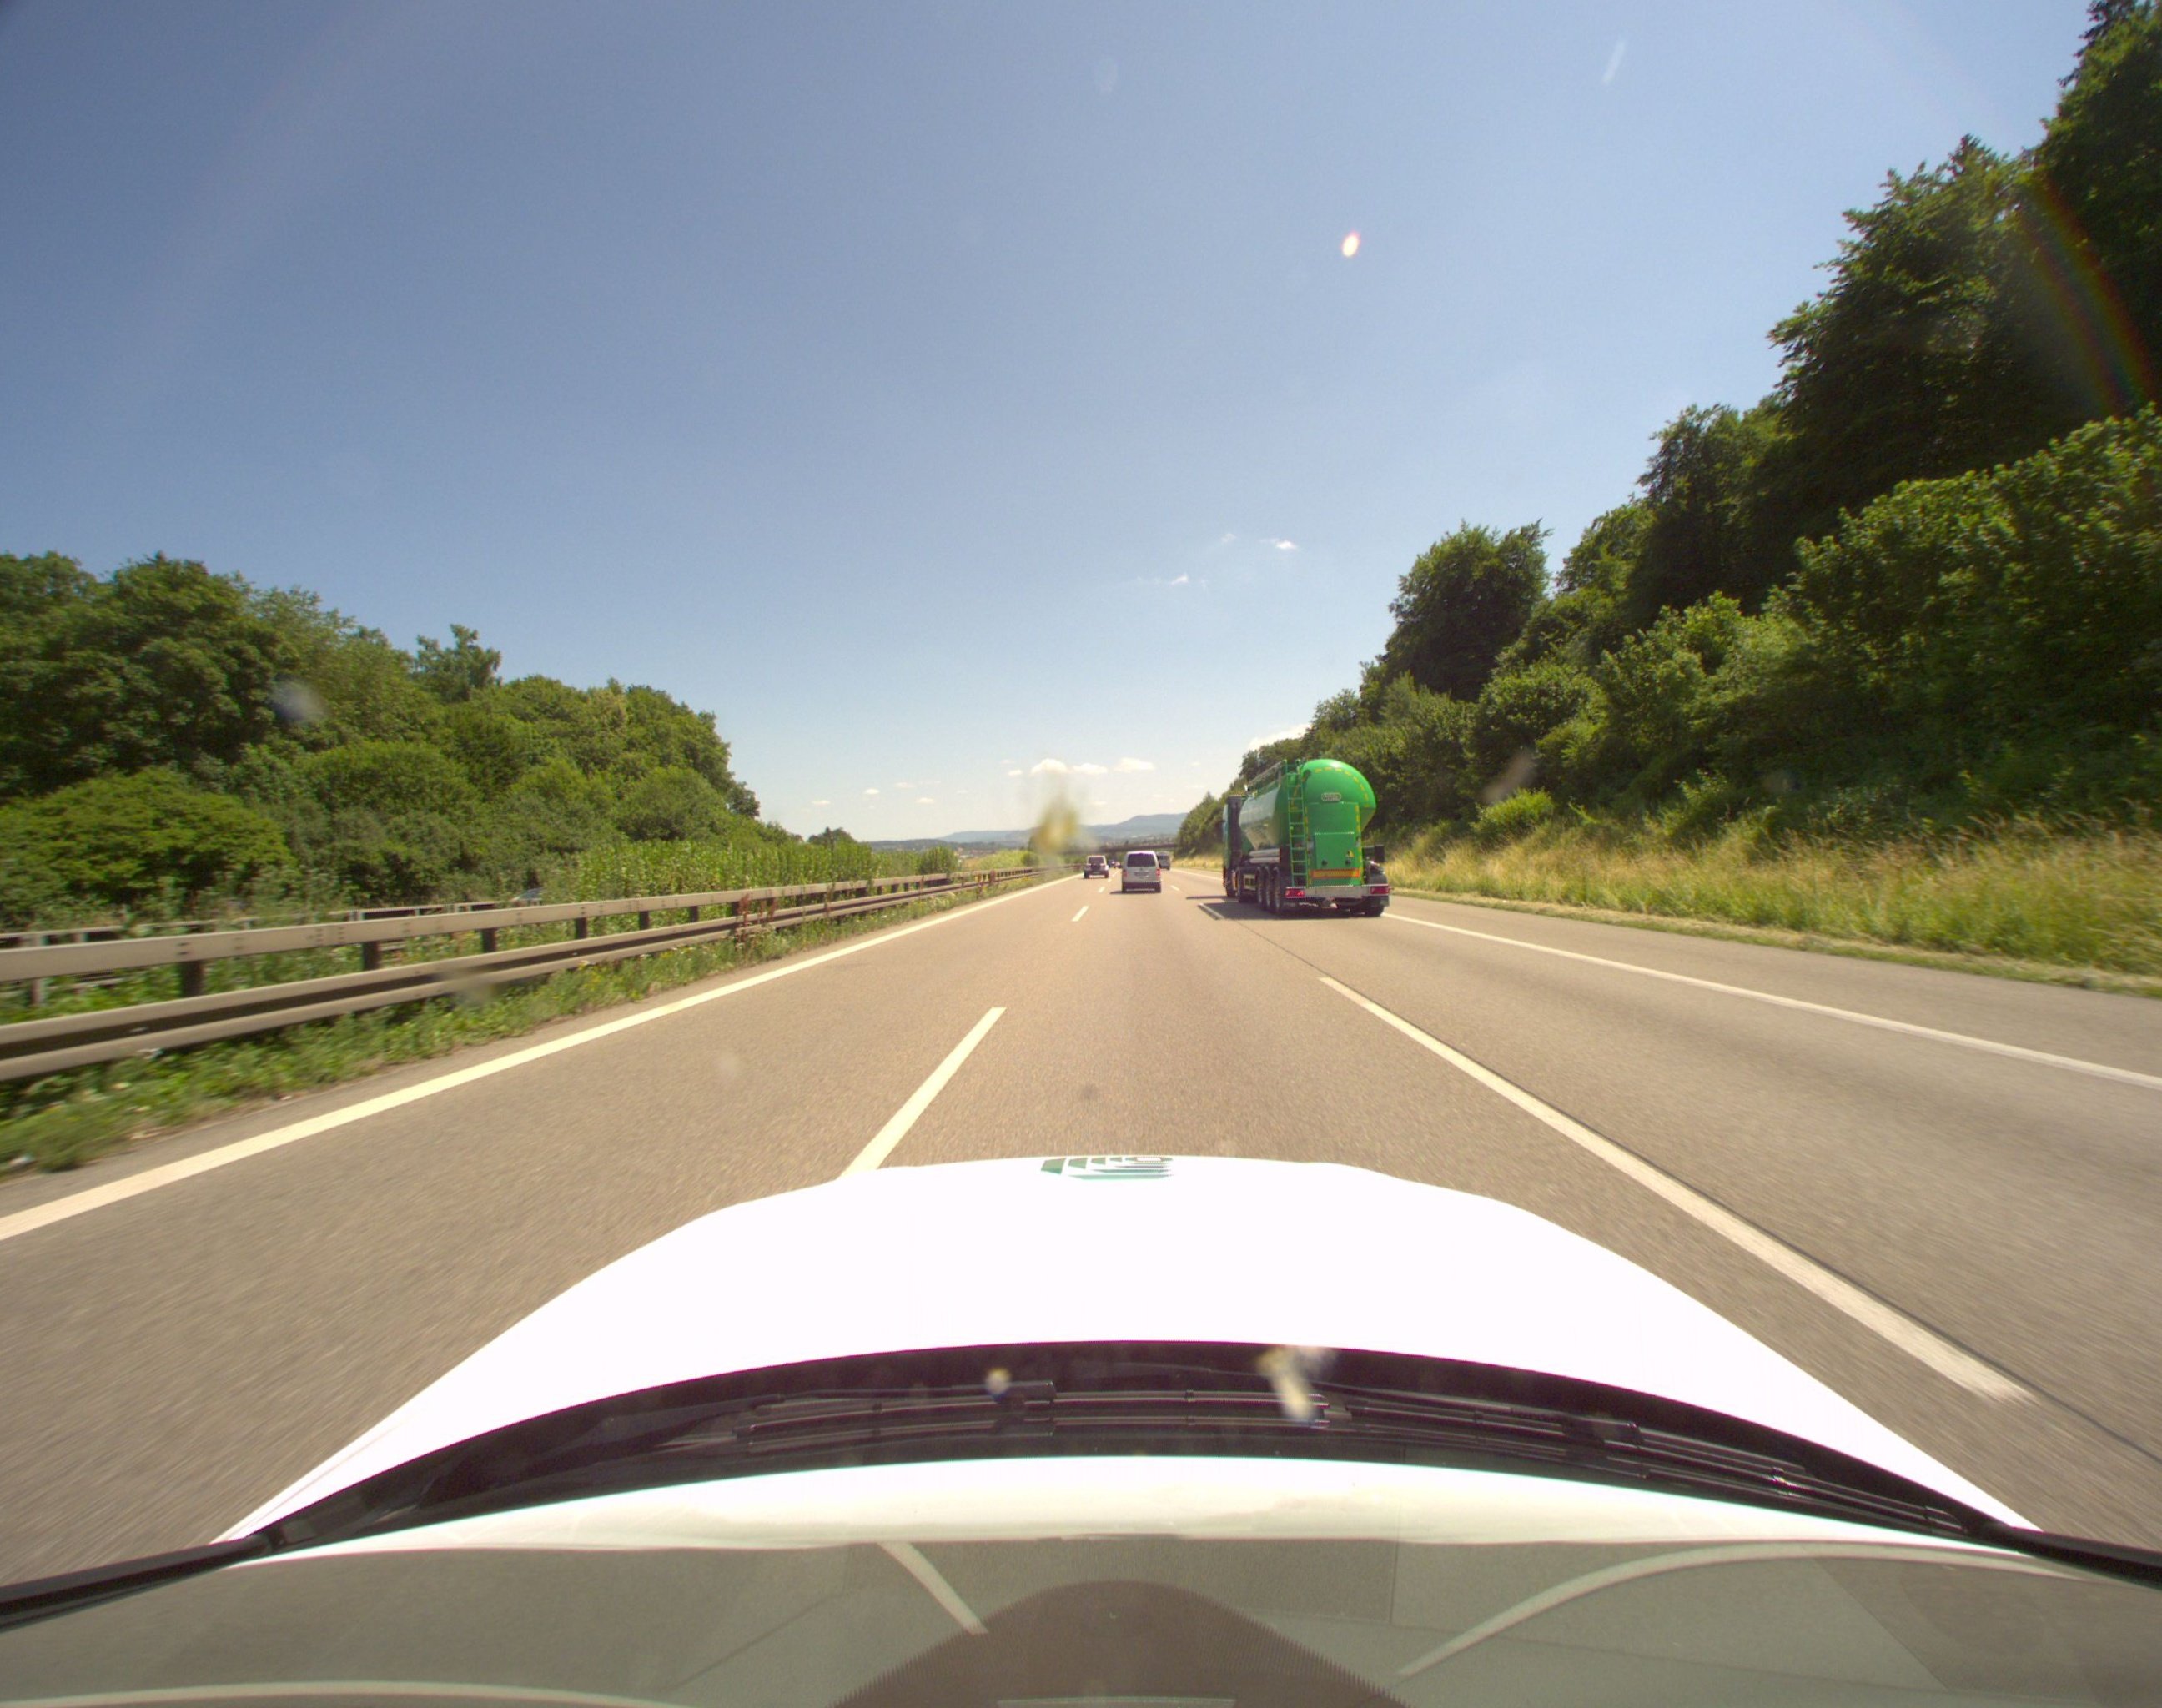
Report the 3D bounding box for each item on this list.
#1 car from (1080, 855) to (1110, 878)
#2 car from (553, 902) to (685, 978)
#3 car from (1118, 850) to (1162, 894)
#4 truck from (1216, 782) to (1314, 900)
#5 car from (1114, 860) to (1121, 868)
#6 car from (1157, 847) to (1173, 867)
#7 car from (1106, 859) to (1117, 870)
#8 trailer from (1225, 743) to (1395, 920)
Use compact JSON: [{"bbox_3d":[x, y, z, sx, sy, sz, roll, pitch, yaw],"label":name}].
[{"bbox_3d":[1.201,1.003,67.599,2.074,1.829,4.760,-1,0,5],"label":"car"},{"bbox_3d":[-14.932,2.726,26.609,1.895,2.013,4.002,-1,0,2],"label":"car"},{"bbox_3d":[2.623,0.762,37.224,1.739,1.829,4.802,-1,0,1],"label":"car"},{"bbox_3d":[6.484,-0.418,29.308,2.500,3.842,4.894,-1,0,2],"label":"truck"},{"bbox_3d":[9.943,2.622,221.525,1.690,2.013,3.826,-1,0,4],"label":"car"},{"bbox_3d":[11.583,0.391,112.559,2.080,2.576,6.629,-1,0,4],"label":"car"},{"bbox_3d":[5.783,1.977,153.113,1.985,2.013,4.003,-1,0,3],"label":"car"},{"bbox_3d":[6.214,-0.519,24.046,2.576,4.028,10.479,-1,0,3],"label":"trailer"}]
